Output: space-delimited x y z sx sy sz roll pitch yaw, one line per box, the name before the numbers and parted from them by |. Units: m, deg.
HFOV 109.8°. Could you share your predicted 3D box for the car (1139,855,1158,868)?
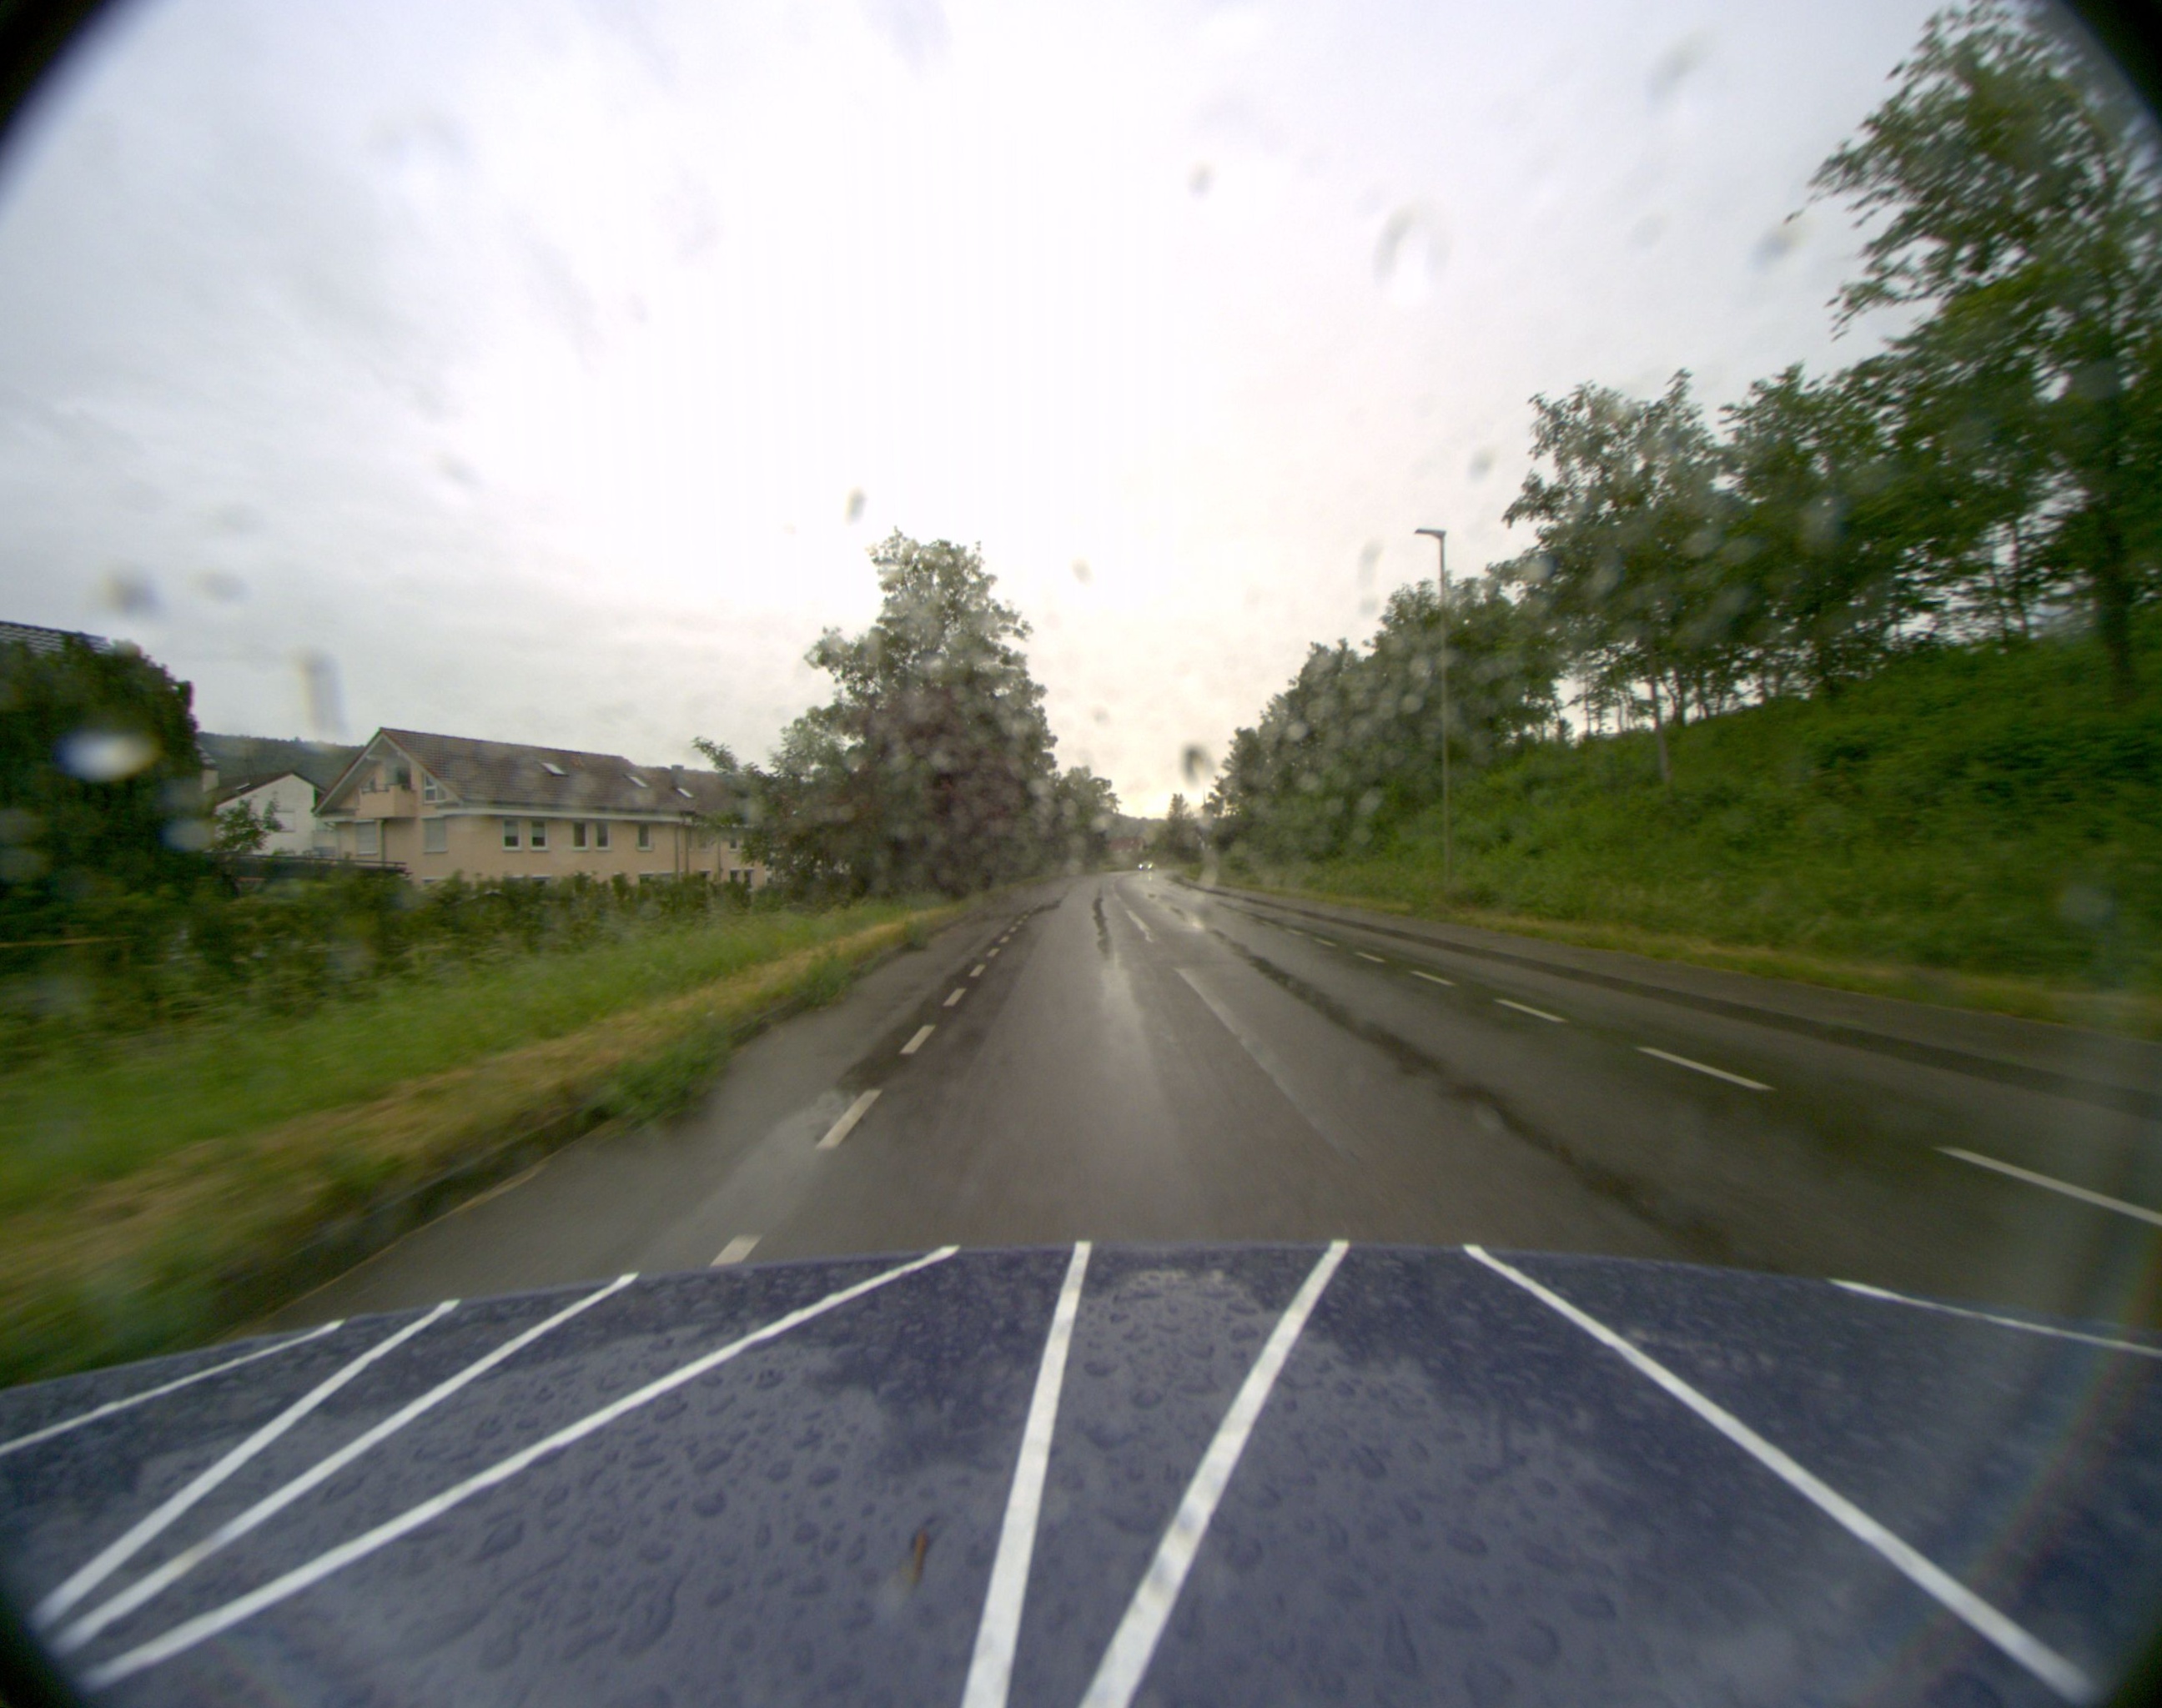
car | 9.928 1.148 112.039 1.996 1.831 4.005 -1 0 16
